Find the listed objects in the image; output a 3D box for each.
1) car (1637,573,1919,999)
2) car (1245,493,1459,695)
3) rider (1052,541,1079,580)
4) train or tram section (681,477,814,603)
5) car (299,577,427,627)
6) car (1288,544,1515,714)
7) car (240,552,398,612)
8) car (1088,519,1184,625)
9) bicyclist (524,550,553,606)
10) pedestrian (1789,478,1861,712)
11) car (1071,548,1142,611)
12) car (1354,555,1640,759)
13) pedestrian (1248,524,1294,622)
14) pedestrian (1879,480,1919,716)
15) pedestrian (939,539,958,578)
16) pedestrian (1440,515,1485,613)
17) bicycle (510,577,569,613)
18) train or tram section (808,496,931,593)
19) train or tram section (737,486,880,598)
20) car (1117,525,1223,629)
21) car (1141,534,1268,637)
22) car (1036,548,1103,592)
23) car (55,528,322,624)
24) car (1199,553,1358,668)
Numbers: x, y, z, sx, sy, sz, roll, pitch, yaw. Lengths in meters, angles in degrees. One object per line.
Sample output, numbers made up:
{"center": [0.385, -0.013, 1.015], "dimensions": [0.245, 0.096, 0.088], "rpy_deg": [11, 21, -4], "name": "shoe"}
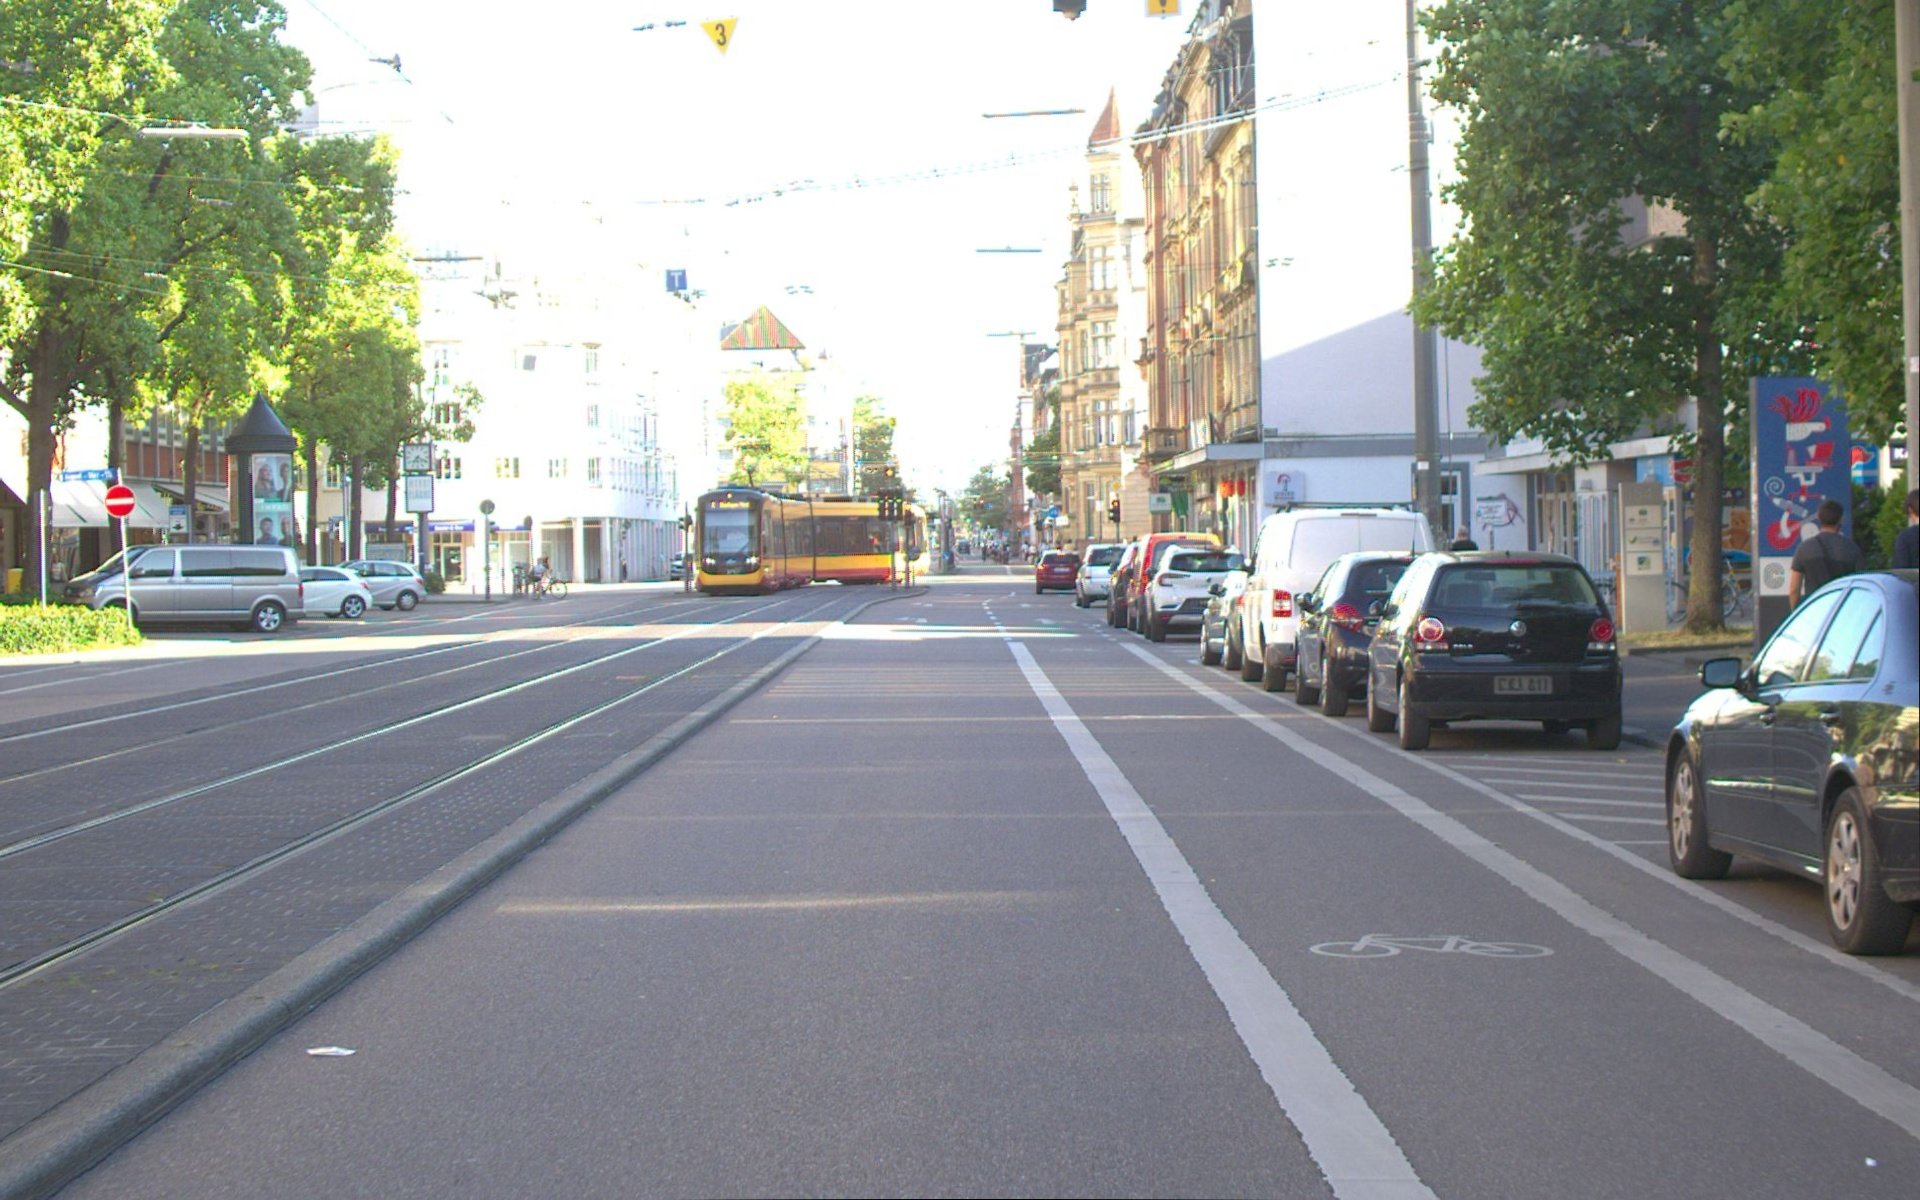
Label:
{"center": [4.103, 0.615, 14.017], "dimensions": [1.716, 1.422, 4.675], "rpy_deg": [0, 1, 0], "name": "car"}
{"center": [4.239, -0.111, 37.842], "dimensions": [1.971, 2.007, 4.558], "rpy_deg": [-2, 1, 3], "name": "car"}
{"center": [4.029, -1.513, 131.261], "dimensions": [0.710, 1.476, 0.887], "rpy_deg": [0, 1, -20], "name": "rider"}
{"center": [-6.997, -2.010, 115.119], "dimensions": [2.692, 3.946, 12.089], "rpy_deg": [1, 1, 5], "name": "train or tram section"}
{"center": [-18.307, 0.054, 105.425], "dimensions": [3.519, 1.476, 1.582], "rpy_deg": [0, 1, -32], "name": "car"}
{"center": [4.048, 0.221, 32.020], "dimensions": [1.621, 1.468, 3.971], "rpy_deg": [0, 1, 0], "name": "car"}
{"center": [-17.771, -0.506, 95.313], "dimensions": [3.869, 1.622, 1.876], "rpy_deg": [0, 1, -31], "name": "car"}
{"center": [3.424, -0.574, 67.267], "dimensions": [1.621, 2.000, 3.831], "rpy_deg": [1, 1, 0], "name": "car"}
{"center": [-15.358, -0.811, 125.255], "dimensions": [0.723, 2.007, 0.699], "rpy_deg": [2, 1, 25], "name": "bicyclist"}
{"center": [6.446, -0.040, 25.612], "dimensions": [0.426, 1.704, 0.453], "rpy_deg": [-2, 3, 19], "name": "pedestrian"}
{"center": [3.799, -0.547, 89.389], "dimensions": [1.621, 1.550, 4.083], "rpy_deg": [1, 1, 0], "name": "car"}
{"center": [4.089, 0.382, 26.706], "dimensions": [1.621, 1.427, 3.985], "rpy_deg": [0, 1, 1], "name": "car"}
{"center": [5.530, -0.483, 61.202], "dimensions": [0.730, 1.716, 0.835], "rpy_deg": [-1, 1, 1], "name": "pedestrian"}
{"center": [7.064, -0.021, 25.285], "dimensions": [0.498, 1.704, 0.453], "rpy_deg": [-2, 3, 19], "name": "pedestrian"}
{"center": [-0.598, -2.163, 179.250], "dimensions": [0.920, 2.007, 0.759], "rpy_deg": [1, 1, 0], "name": "pedestrian"}
{"center": [8.872, -0.635, 60.764], "dimensions": [0.661, 1.716, 0.835], "rpy_deg": [-1, 1, 1], "name": "pedestrian"}
{"center": [-15.319, -0.176, 125.248], "dimensions": [2.022, 1.235, 0.699], "rpy_deg": [2, 1, 24], "name": "bicycle"}
{"center": [-3.582, -2.256, 139.452], "dimensions": [2.693, 3.739, 11.284], "rpy_deg": [1, 1, 10], "name": "train or tram section"}
{"center": [-5.504, -2.155, 127.495], "dimensions": [2.693, 3.865, 12.839], "rpy_deg": [1, 1, 9], "name": "train or tram section"}
{"center": [3.800, -0.446, 62.700], "dimensions": [1.621, 1.807, 4.083], "rpy_deg": [1, 1, 0], "name": "car"}
{"center": [3.979, -0.268, 56.520], "dimensions": [1.723, 1.562, 4.083], "rpy_deg": [-2, 1, 0], "name": "car"}
{"center": [3.677, -1.029, 116.158], "dimensions": [2.065, 1.384, 4.225], "rpy_deg": [1, 1, 0], "name": "car"}
{"center": [-17.050, -0.498, 76.022], "dimensions": [5.252, 2.036, 2.419], "rpy_deg": [1, -1, -32], "name": "car"}
{"center": [4.044, 0.098, 44.152], "dimensions": [1.621, 1.366, 3.931], "rpy_deg": [1, 1, 0], "name": "car"}
